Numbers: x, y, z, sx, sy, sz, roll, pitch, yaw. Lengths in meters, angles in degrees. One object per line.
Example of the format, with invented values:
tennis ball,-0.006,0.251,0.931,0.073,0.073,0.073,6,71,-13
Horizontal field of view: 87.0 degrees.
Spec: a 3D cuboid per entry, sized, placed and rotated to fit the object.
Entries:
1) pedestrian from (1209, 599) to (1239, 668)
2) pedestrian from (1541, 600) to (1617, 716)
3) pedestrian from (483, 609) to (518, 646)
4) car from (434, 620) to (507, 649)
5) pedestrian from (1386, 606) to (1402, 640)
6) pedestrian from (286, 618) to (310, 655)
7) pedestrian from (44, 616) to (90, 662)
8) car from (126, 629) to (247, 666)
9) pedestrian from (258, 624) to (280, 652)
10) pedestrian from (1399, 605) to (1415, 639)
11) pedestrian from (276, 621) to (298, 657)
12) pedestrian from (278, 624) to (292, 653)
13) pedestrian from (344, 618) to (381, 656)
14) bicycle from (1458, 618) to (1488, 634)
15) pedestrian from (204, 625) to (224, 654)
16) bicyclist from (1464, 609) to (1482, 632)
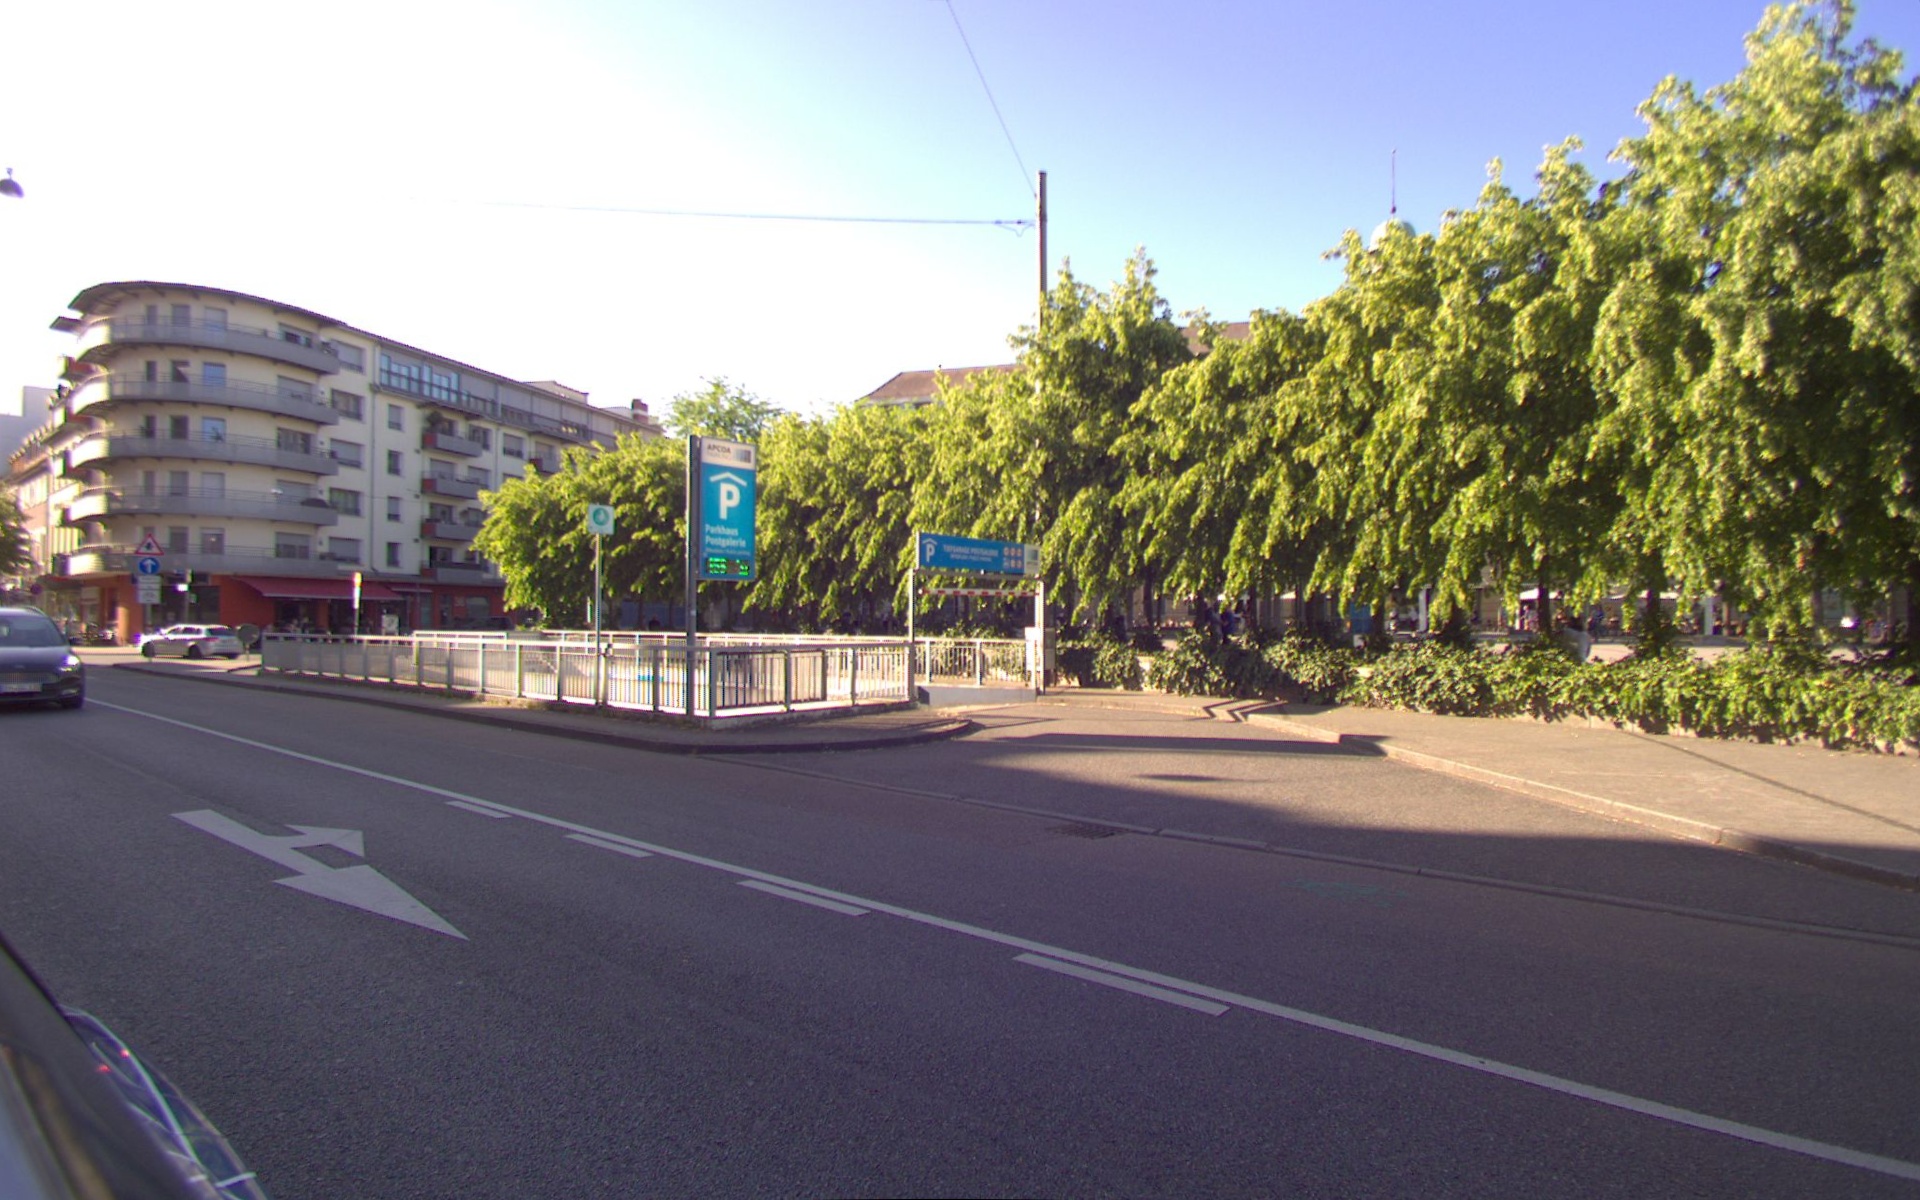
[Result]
pedestrian,6.537,0.823,25.118,0.672,1.683,0.843,-1,-1,13
pedestrian,9.777,0.894,15.977,0.885,1.771,0.738,0,-1,-39
pedestrian,-25.809,1.534,56.888,1.292,2.029,1.305,-1,-1,33
car,-30.515,2.126,63.205,1.983,1.763,3.977,-1,-1,17
pedestrian,25.194,1.331,58.745,0.751,1.948,0.938,-1,-1,20
pedestrian,-32.829,1.799,50.196,0.746,1.819,0.755,-1,-1,-1
pedestrian,-40.745,1.754,46.196,1.008,2.029,1.198,-1,0,4
car,-31.596,1.918,41.370,4.212,1.445,1.795,-1,-1,15
pedestrian,-36.725,2.022,53.773,0.782,1.473,0.582,0,-1,3
pedestrian,25.857,1.293,58.512,0.751,1.948,0.938,-1,-1,20
pedestrian,-32.834,1.888,49.357,0.697,1.719,0.667,-1,-1,33
pedestrian,-35.304,2.017,52.893,0.573,1.501,0.794,0,-1,-36
pedestrian,-32.732,2.001,55.452,1.251,2.029,1.226,-1,-1,19
bicycle,32.851,1.662,64.772,1.873,0.961,0.591,0,-1,-22
pedestrian,-37.727,1.984,51.203,0.780,1.472,0.583,0,-1,-40
bicyclist,32.825,1.317,64.745,0.686,1.439,0.675,0,-1,-22
